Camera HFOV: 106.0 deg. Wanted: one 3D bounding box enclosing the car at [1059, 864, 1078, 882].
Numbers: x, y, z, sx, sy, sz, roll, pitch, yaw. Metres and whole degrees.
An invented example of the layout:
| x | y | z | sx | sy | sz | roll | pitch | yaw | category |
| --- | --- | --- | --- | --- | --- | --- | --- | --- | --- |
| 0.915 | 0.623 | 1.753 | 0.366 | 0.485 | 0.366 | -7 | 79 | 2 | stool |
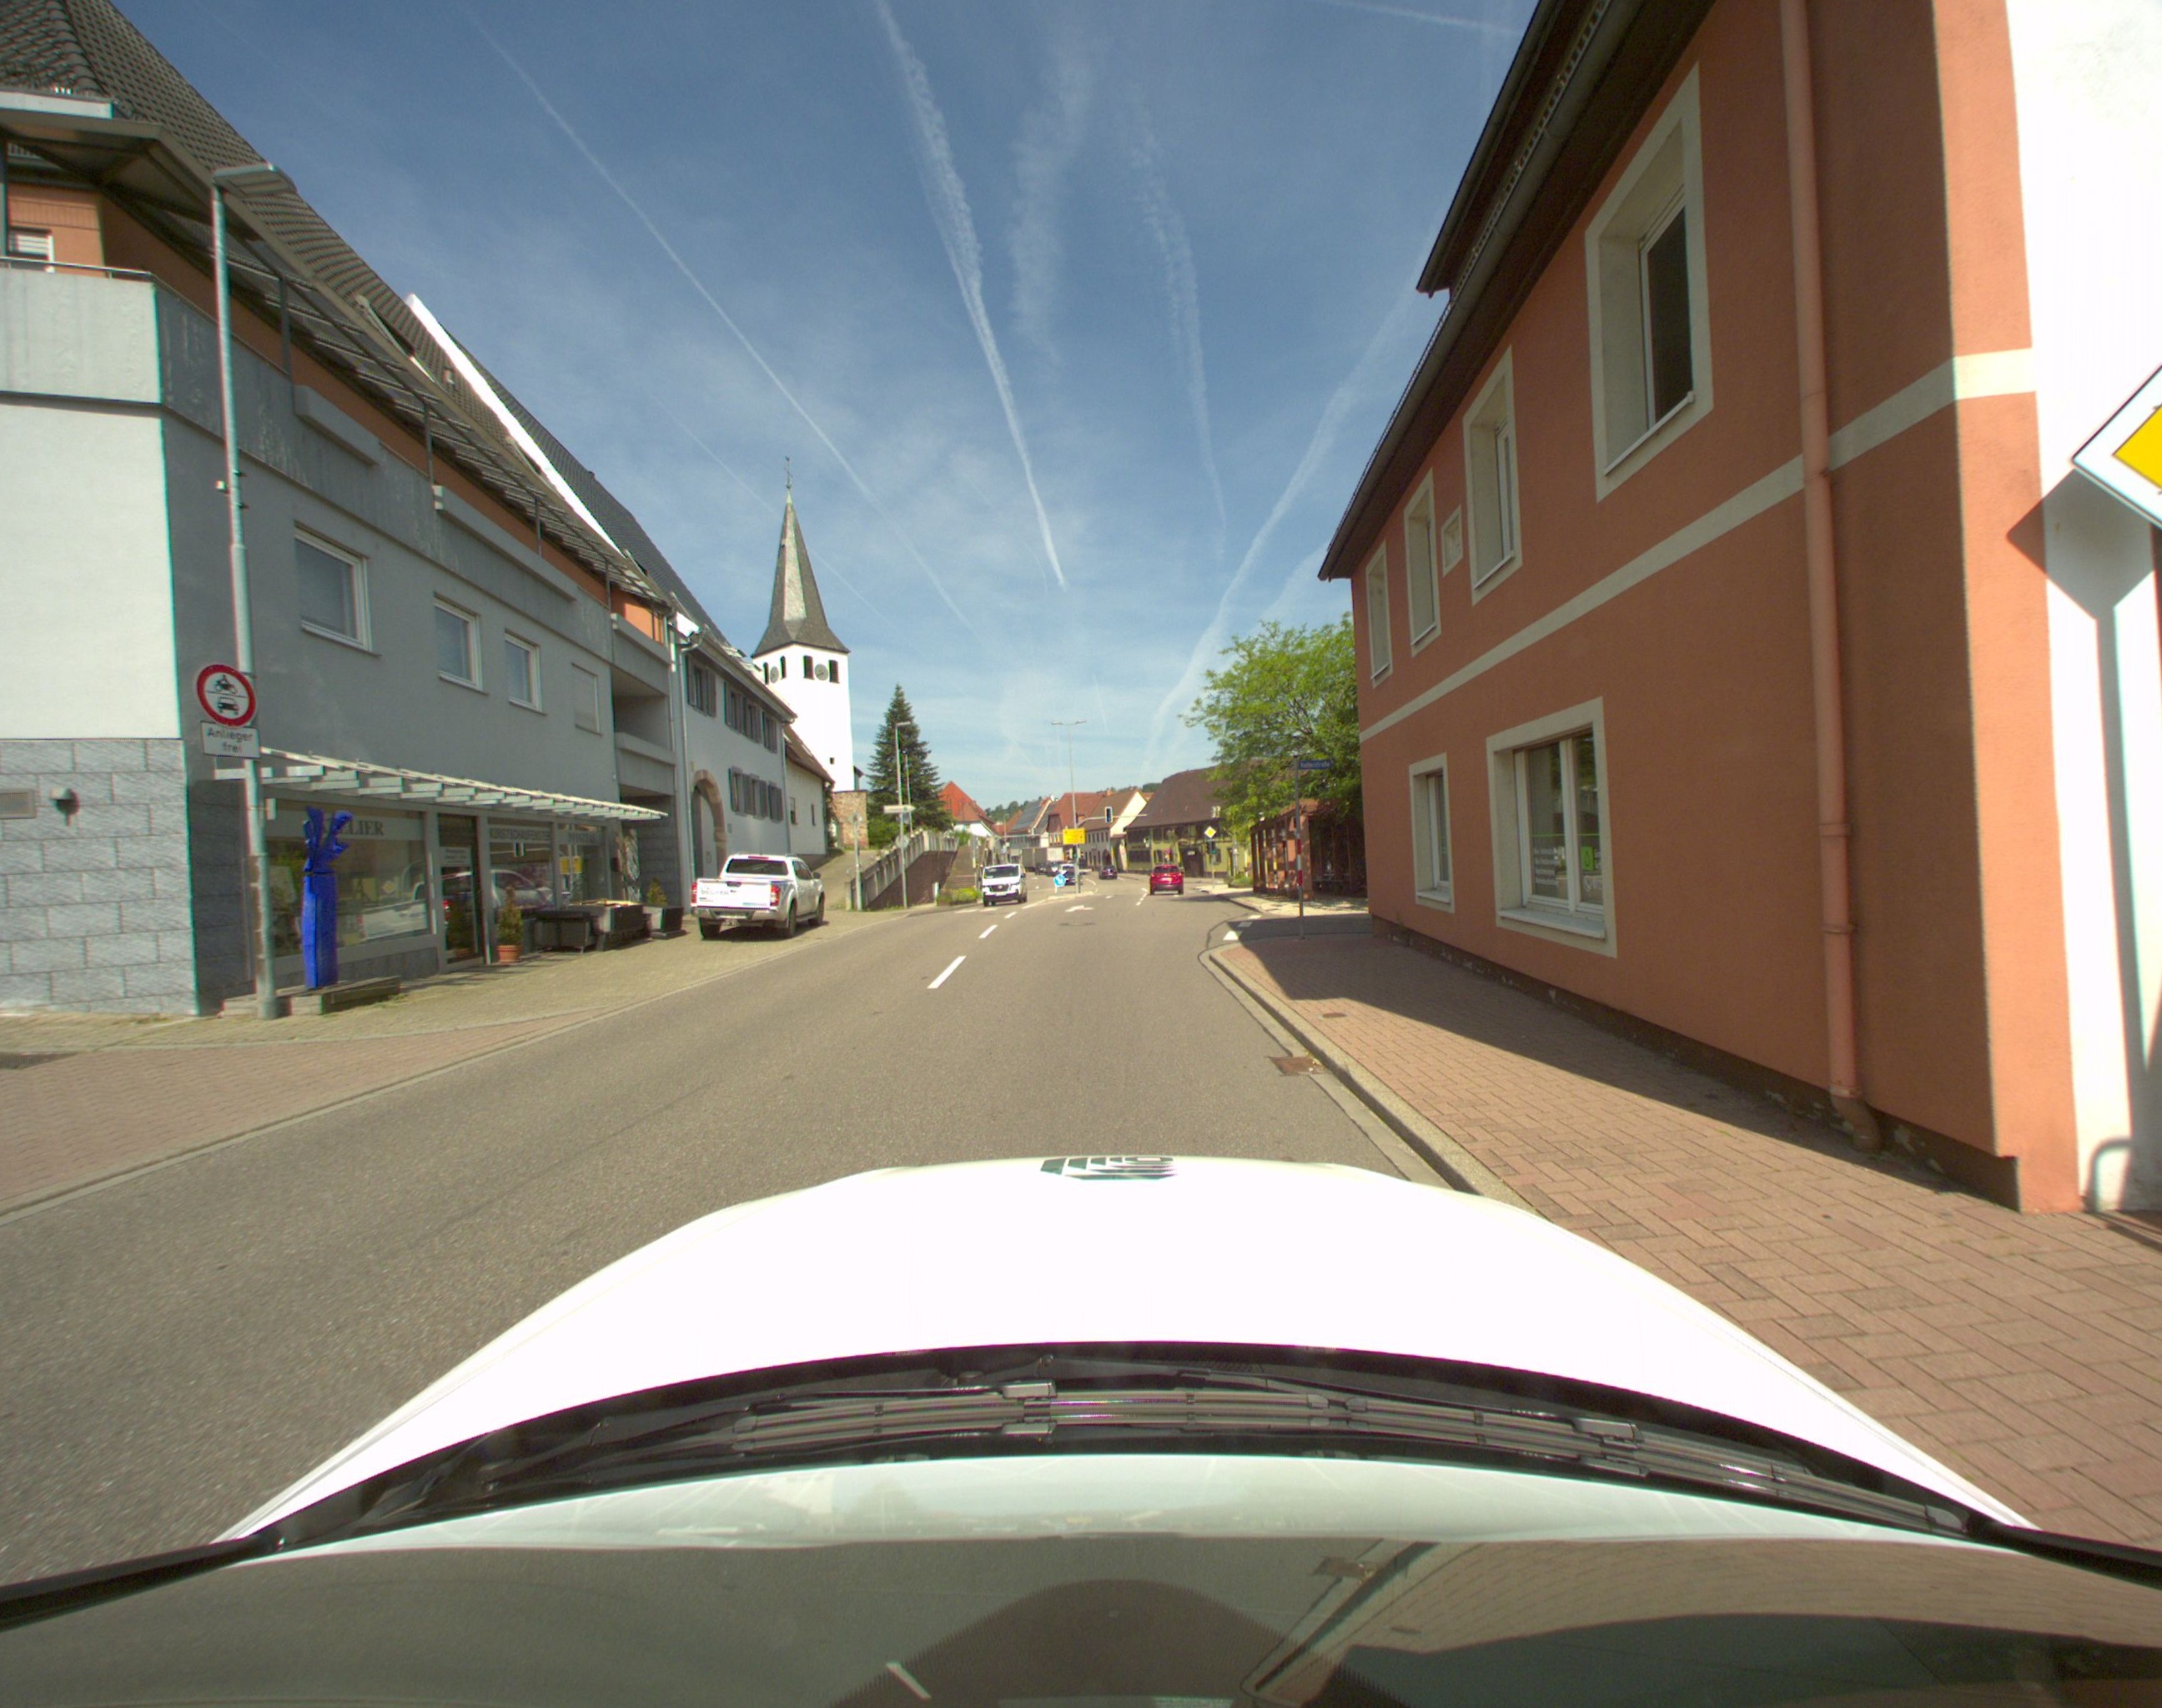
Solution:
| x | y | z | sx | sy | sz | roll | pitch | yaw | category |
| --- | --- | --- | --- | --- | --- | --- | --- | --- | --- |
| -1.496 | 2.242 | 98.109 | 1.818 | 1.906 | 4.954 | -3 | 0 | -6 | car |

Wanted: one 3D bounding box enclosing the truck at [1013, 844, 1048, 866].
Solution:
| x | y | z | sx | sy | sz | roll | pitch | yaw | category |
| --- | --- | --- | --- | --- | --- | --- | --- | --- | --- |
| -8.735 | 0.232 | 140.218 | 3.170 | 3.460 | 10.640 | 0 | -1 | -19 | truck |

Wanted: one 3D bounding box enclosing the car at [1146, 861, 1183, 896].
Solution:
| x | y | z | sx | sy | sz | roll | pitch | yaw | category |
| --- | --- | --- | --- | --- | --- | --- | --- | --- | --- |
| 4.706 | 1.329 | 45.353 | 1.794 | 1.663 | 3.821 | -3 | 0 | 8 | car |

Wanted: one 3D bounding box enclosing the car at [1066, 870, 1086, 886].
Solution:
| x | y | z | sx | sy | sz | roll | pitch | yaw | category |
| --- | --- | --- | --- | --- | --- | --- | --- | --- | --- |
| -0.507 | 2.477 | 84.941 | 1.813 | 1.434 | 4.252 | -3 | 0 | 3 | car |

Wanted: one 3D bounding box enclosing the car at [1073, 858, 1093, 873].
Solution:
| x | y | z | sx | sy | sz | roll | pitch | yaw | category |
| --- | --- | --- | --- | --- | --- | --- | --- | --- | --- |
| 0.288 | 1.602 | 114.410 | 1.850 | 2.014 | 3.978 | 0 | -1 | -16 | car |

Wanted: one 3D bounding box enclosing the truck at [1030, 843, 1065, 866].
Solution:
| x | y | z | sx | sy | sz | roll | pitch | yaw | category |
| --- | --- | --- | --- | --- | --- | --- | --- | --- | --- |
| -5.484 | 0.106 | 130.810 | 3.233 | 3.549 | 9.171 | 0 | -1 | -19 | truck |

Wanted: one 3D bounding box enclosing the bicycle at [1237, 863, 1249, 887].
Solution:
| x | y | z | sx | sy | sz | roll | pitch | yaw | category |
| --- | --- | --- | --- | --- | --- | --- | --- | --- | --- |
| 9.370 | 1.212 | 47.158 | 0.526 | 1.279 | 1.997 | -6 | -1 | 9 | bicycle |

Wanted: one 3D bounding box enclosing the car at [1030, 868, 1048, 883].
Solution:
| x | y | z | sx | sy | sz | roll | pitch | yaw | category |
| --- | --- | --- | --- | --- | --- | --- | --- | --- | --- |
| -6.266 | 3.160 | 121.079 | 1.761 | 2.246 | 4.528 | 0 | -1 | -15 | car |

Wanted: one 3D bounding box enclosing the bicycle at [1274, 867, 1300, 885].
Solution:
| x | y | z | sx | sy | sz | roll | pitch | yaw | category |
| --- | --- | --- | --- | --- | --- | --- | --- | --- | --- |
| 15.676 | 1.657 | 62.022 | 1.794 | 1.234 | 0.550 | -3 | -1 | 5 | bicycle |

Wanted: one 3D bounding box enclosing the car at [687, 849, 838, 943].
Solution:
| x | y | z | sx | sy | sz | roll | pitch | yaw | category |
| --- | --- | --- | --- | --- | --- | --- | --- | --- | --- |
| -7.095 | 0.843 | 18.802 | 1.802 | 1.798 | 5.275 | 2 | 0 | -6 | car |

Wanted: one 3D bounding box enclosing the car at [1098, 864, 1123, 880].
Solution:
| x | y | z | sx | sy | sz | roll | pitch | yaw | category |
| --- | --- | --- | --- | --- | --- | --- | --- | --- | --- |
| 3.417 | 2.081 | 95.764 | 1.823 | 1.739 | 3.987 | -3 | 0 | -13 | car |

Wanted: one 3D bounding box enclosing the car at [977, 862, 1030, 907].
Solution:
| x | y | z | sx | sy | sz | roll | pitch | yaw | category |
| --- | --- | --- | --- | --- | --- | --- | --- | --- | --- |
| -3.716 | 1.442 | 40.170 | 1.962 | 1.933 | 5.313 | -3 | -1 | 0 | car |
